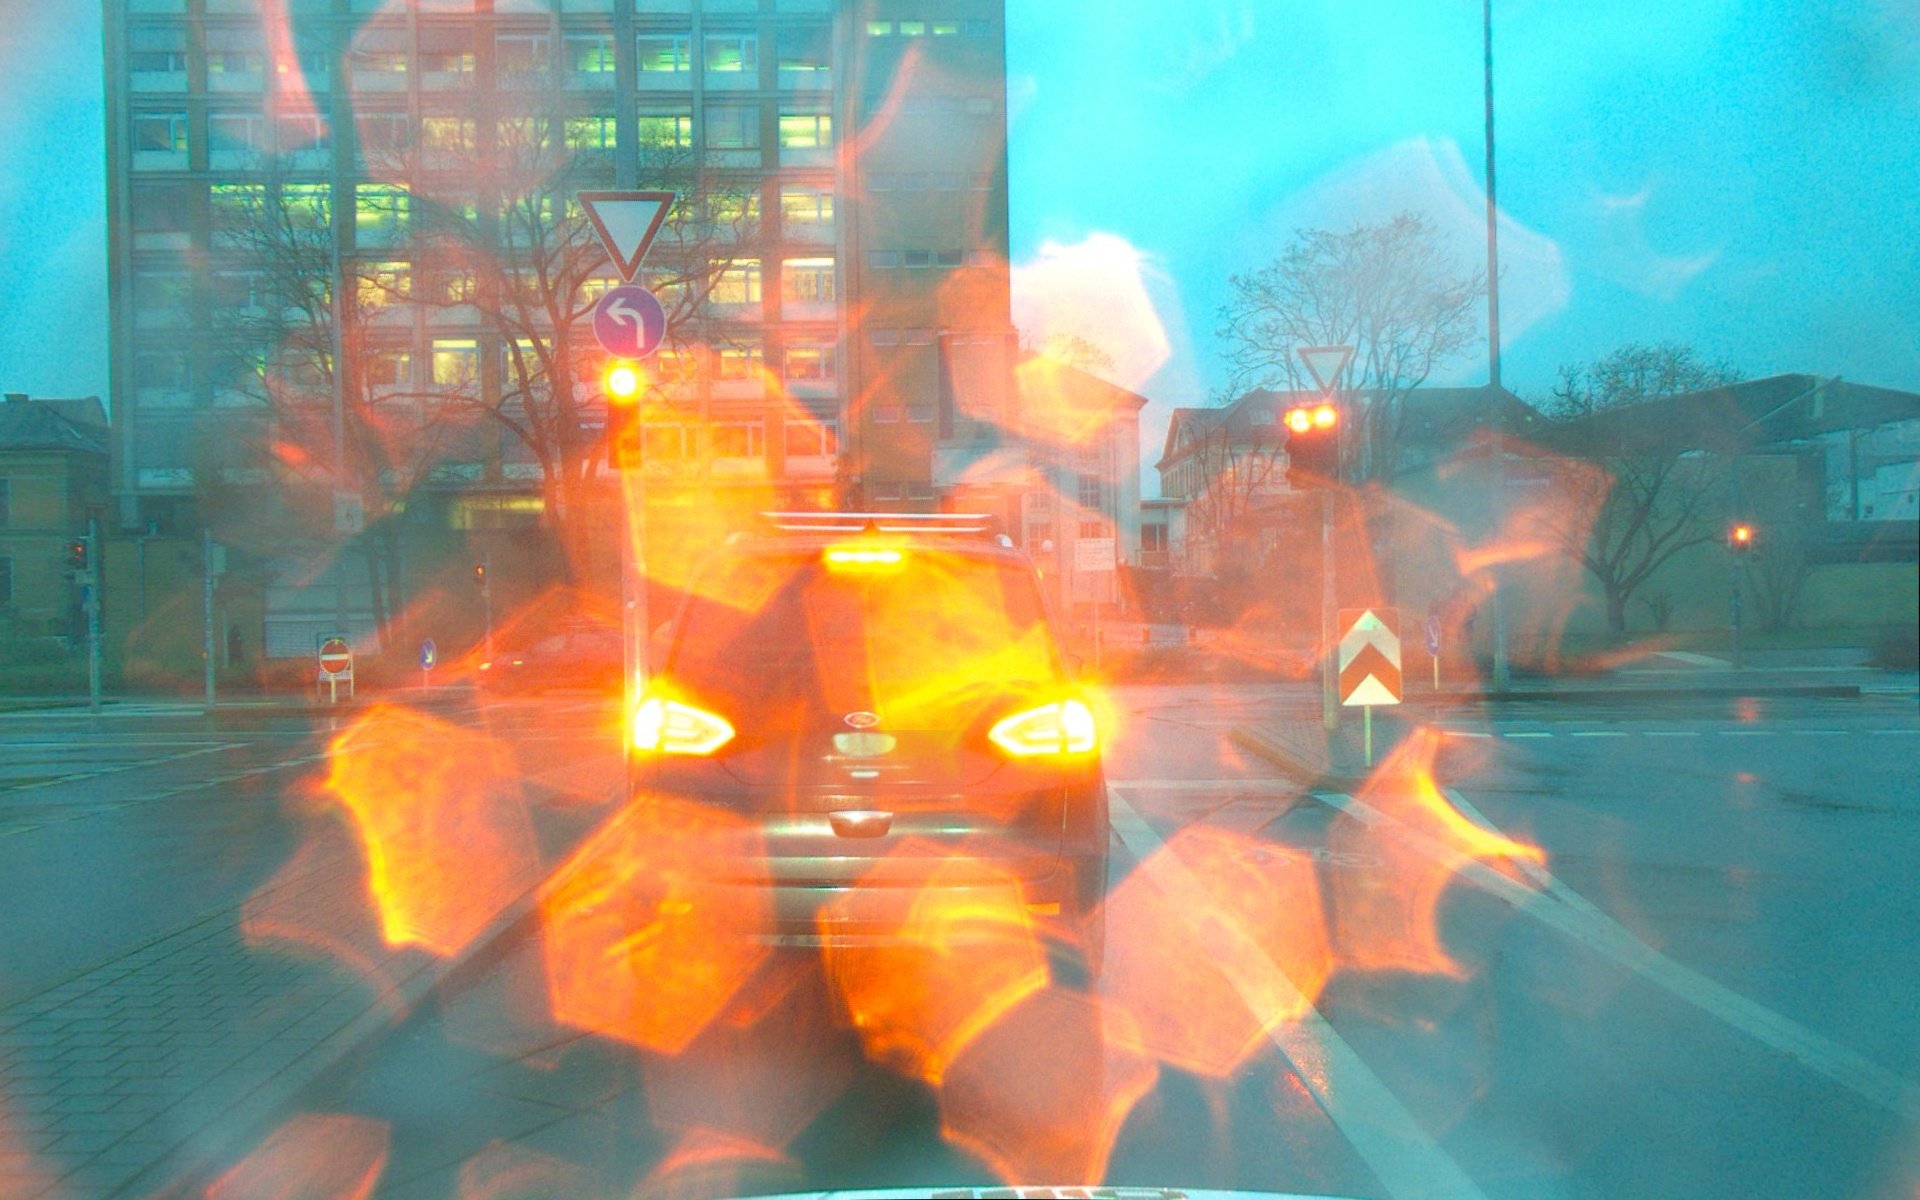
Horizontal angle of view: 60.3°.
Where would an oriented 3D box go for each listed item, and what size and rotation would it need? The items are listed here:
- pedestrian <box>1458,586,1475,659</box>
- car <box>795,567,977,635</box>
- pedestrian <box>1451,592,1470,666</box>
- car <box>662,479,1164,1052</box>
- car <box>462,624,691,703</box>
[{"bbox_3d":[13.127,0.594,42.861,0.428,1.871,0.460,0,-2,18],"label":"pedestrian"},{"bbox_3d":[-2.269,0.040,51.734,5.429,2.060,2.001,0,-2,5],"label":"car"},{"bbox_3d":[12.626,0.736,41.721,0.448,1.871,0.439,0,-2,16],"label":"pedestrian"},{"bbox_3d":[-0.179,0.525,7.357,1.613,1.850,3.999,0,0,-1],"label":"car"},{"bbox_3d":[-8.160,1.343,35.360,4.338,1.608,1.969,0,-2,12],"label":"car"}]
